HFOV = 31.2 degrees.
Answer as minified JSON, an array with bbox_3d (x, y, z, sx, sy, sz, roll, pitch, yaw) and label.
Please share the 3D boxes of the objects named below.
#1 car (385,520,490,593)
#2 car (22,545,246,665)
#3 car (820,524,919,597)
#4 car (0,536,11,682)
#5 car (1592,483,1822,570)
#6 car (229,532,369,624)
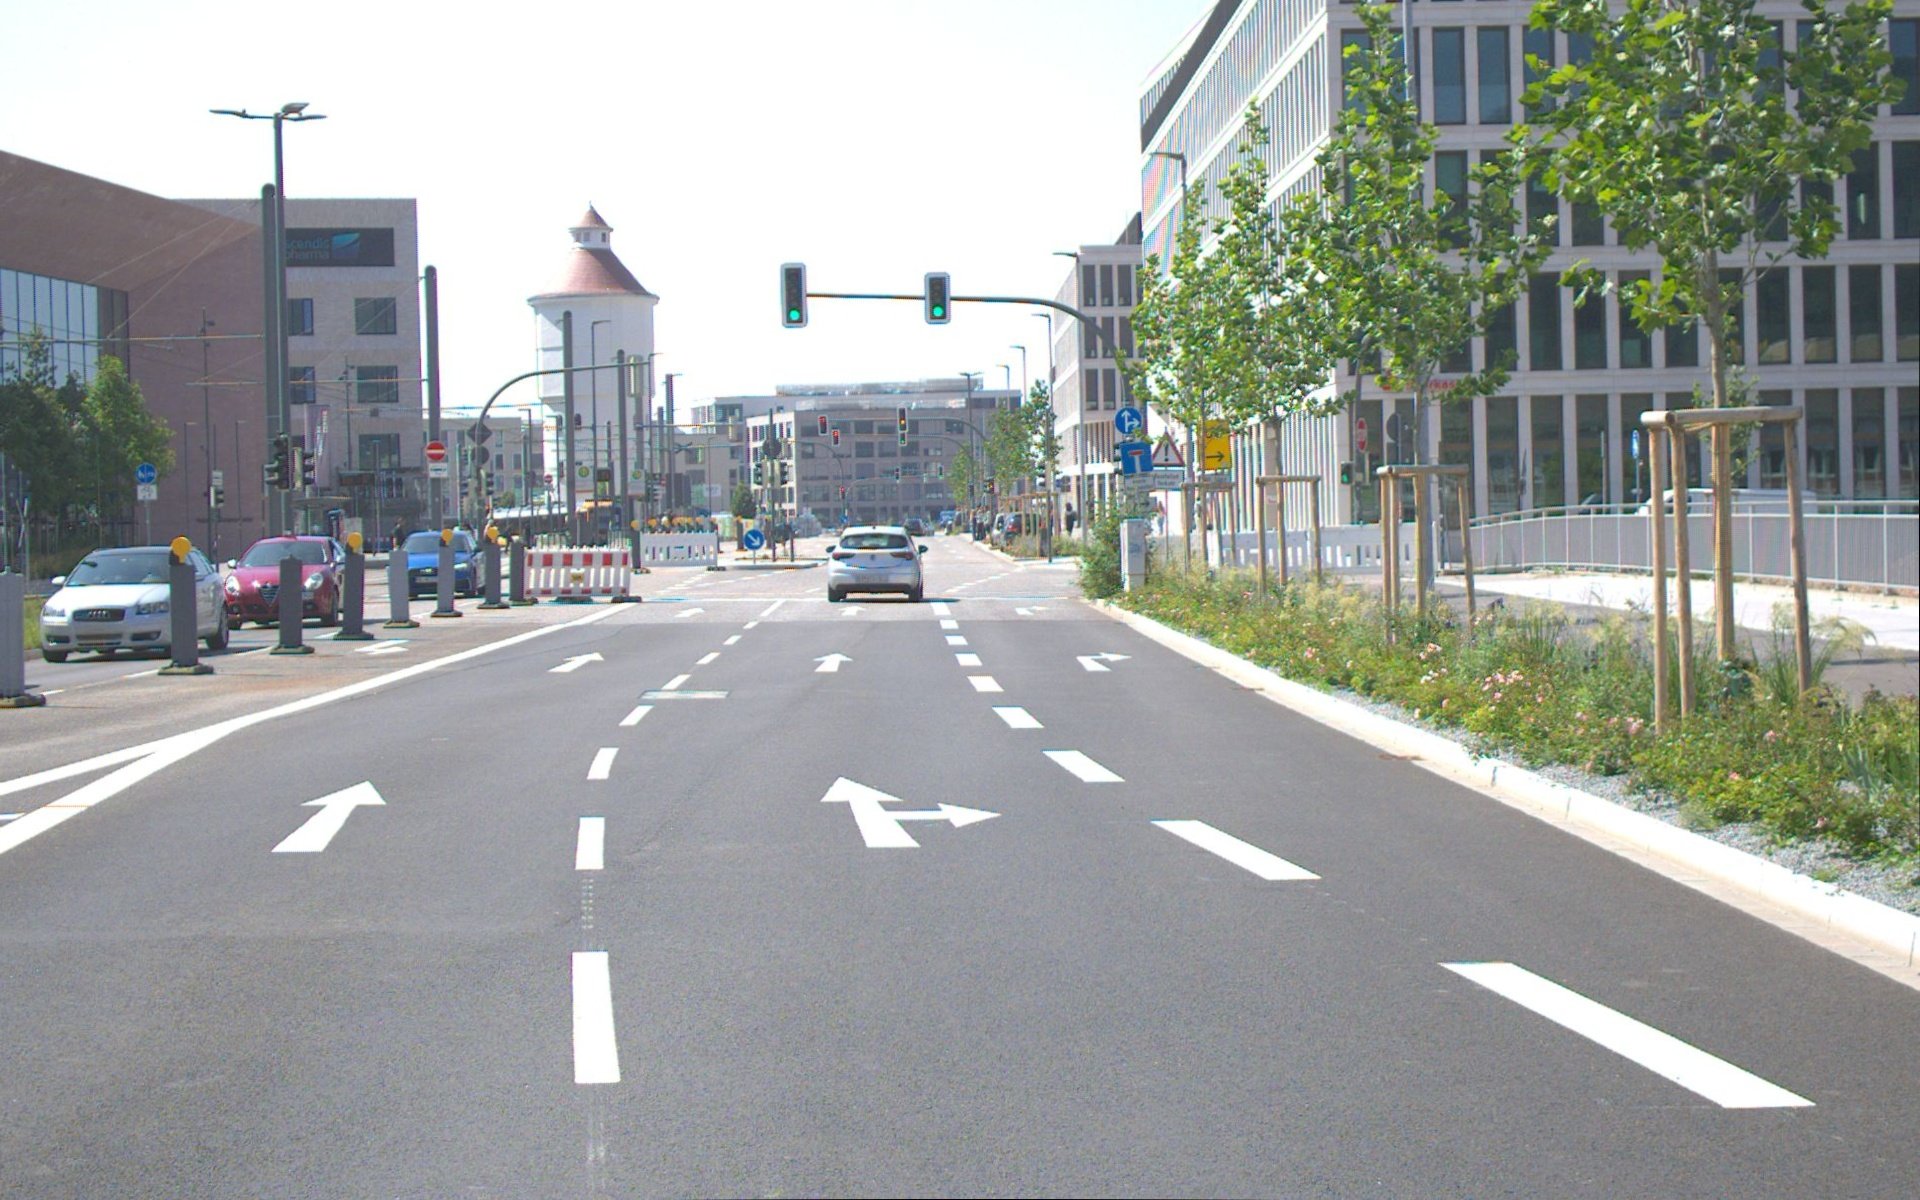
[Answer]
[{"bbox_3d":[-11.032,-0.939,72.799,1.628,1.422,4.291,-2,1,-1],"label":"car"},{"bbox_3d":[-10.623,0.030,44.508,1.580,1.411,4.296,-2,1,4],"label":"car"},{"bbox_3d":[-1.745,-0.761,67.207,1.771,1.390,3.532,0,0,1],"label":"car"},{"bbox_3d":[-11.000,0.174,34.378,1.580,1.525,3.620,-3,1,7],"label":"car"},{"bbox_3d":[20.565,-2.032,94.835,5.836,2.262,2.147,1,2,0],"label":"car"},{"bbox_3d":[-10.830,-0.378,56.520,1.580,1.411,4.000,-2,1,-1],"label":"car"}]
